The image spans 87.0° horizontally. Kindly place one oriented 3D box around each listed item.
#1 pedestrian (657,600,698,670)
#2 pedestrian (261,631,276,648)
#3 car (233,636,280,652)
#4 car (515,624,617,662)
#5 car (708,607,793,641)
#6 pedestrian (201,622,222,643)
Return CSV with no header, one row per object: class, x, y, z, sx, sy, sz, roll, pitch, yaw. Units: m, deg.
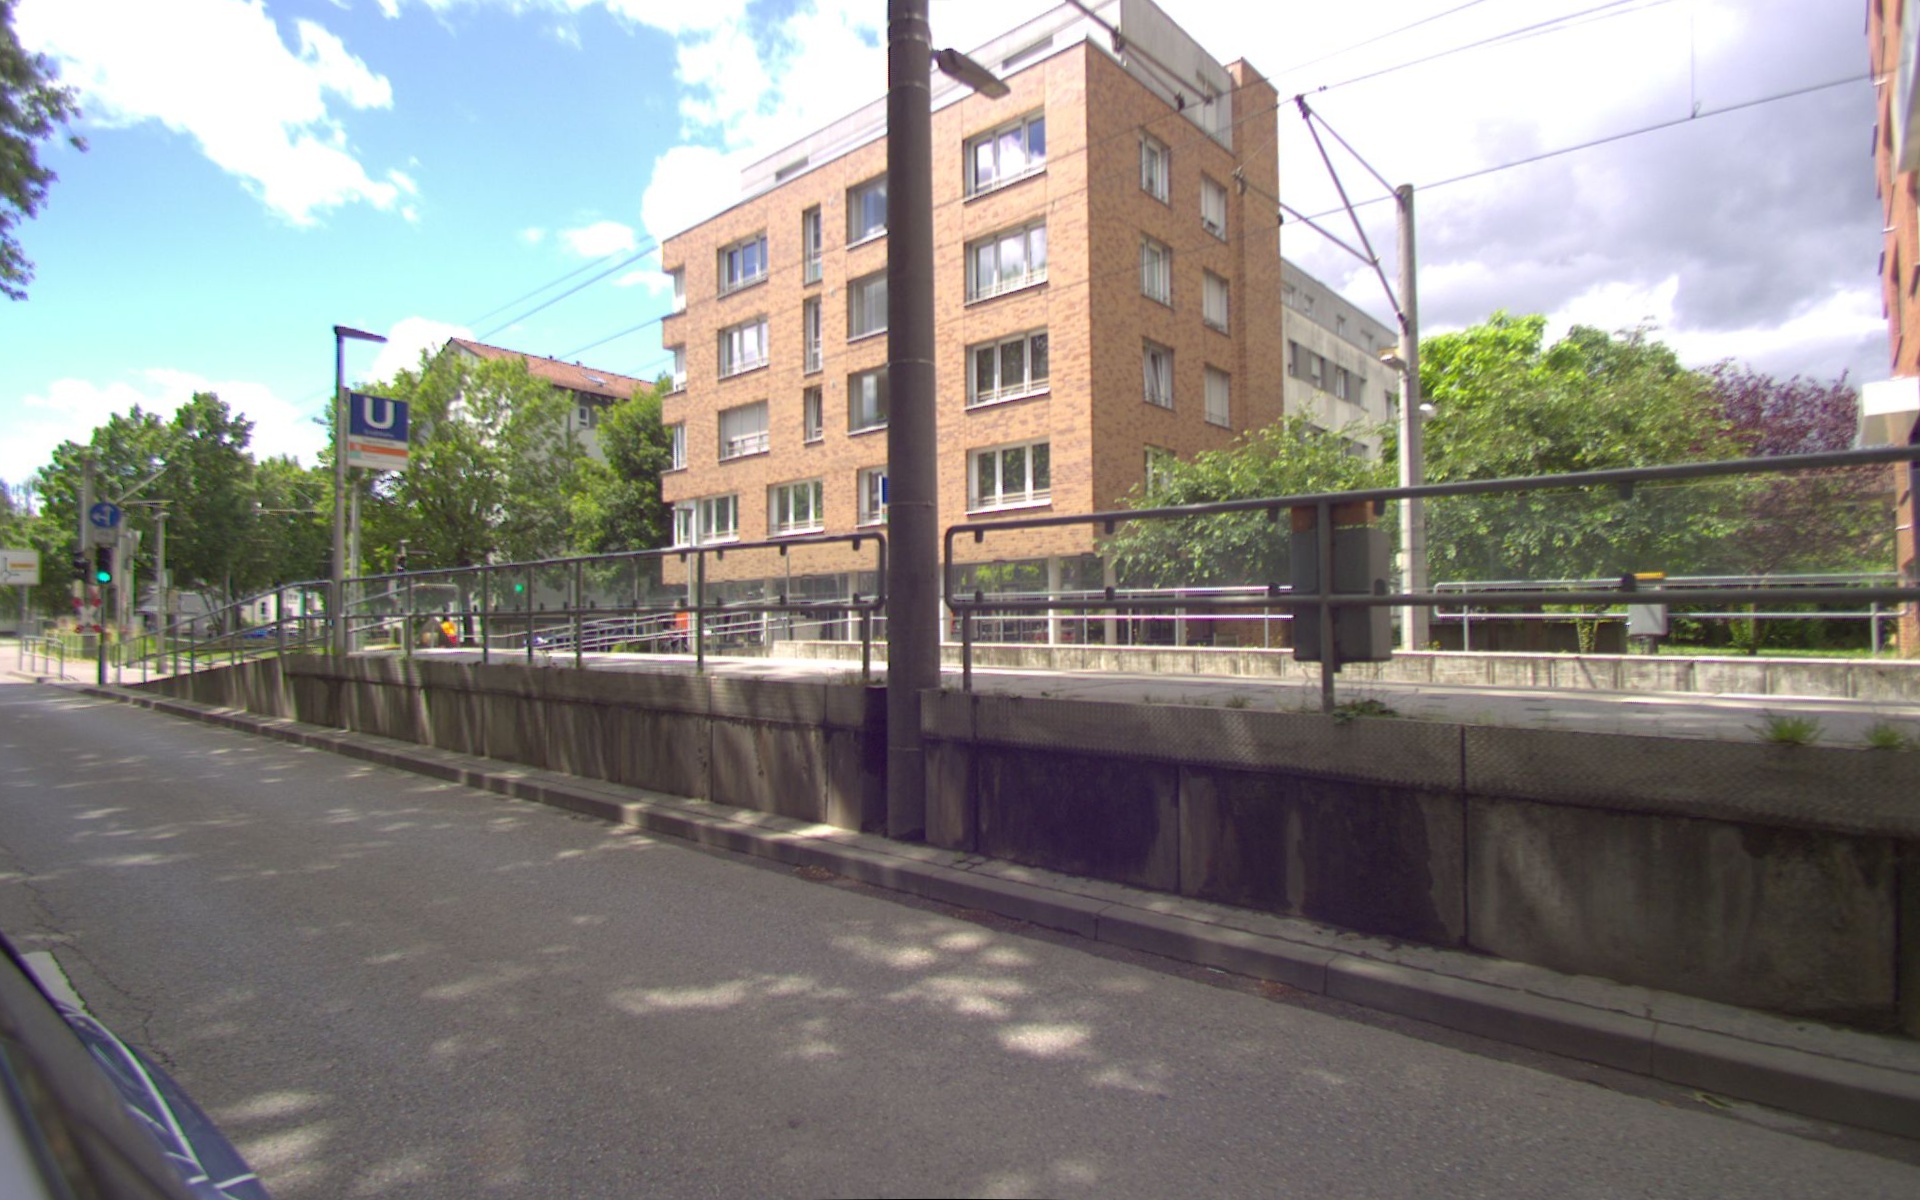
pedestrian,-7.650,0.942,27.363,0.828,1.839,0.736,-3,-3,40
pedestrian,-67.720,3.867,99.124,0.873,1.677,1.010,-2,-2,34
car,-70.699,4.438,101.750,4.091,1.535,1.797,-1,-2,19
car,-16.366,1.824,42.141,1.588,1.488,3.632,-2,-5,43
car,-9.212,1.075,44.619,1.592,1.410,3.497,-2,-2,38
pedestrian,-59.504,2.595,80.425,1.009,1.677,0.874,0,-2,5
